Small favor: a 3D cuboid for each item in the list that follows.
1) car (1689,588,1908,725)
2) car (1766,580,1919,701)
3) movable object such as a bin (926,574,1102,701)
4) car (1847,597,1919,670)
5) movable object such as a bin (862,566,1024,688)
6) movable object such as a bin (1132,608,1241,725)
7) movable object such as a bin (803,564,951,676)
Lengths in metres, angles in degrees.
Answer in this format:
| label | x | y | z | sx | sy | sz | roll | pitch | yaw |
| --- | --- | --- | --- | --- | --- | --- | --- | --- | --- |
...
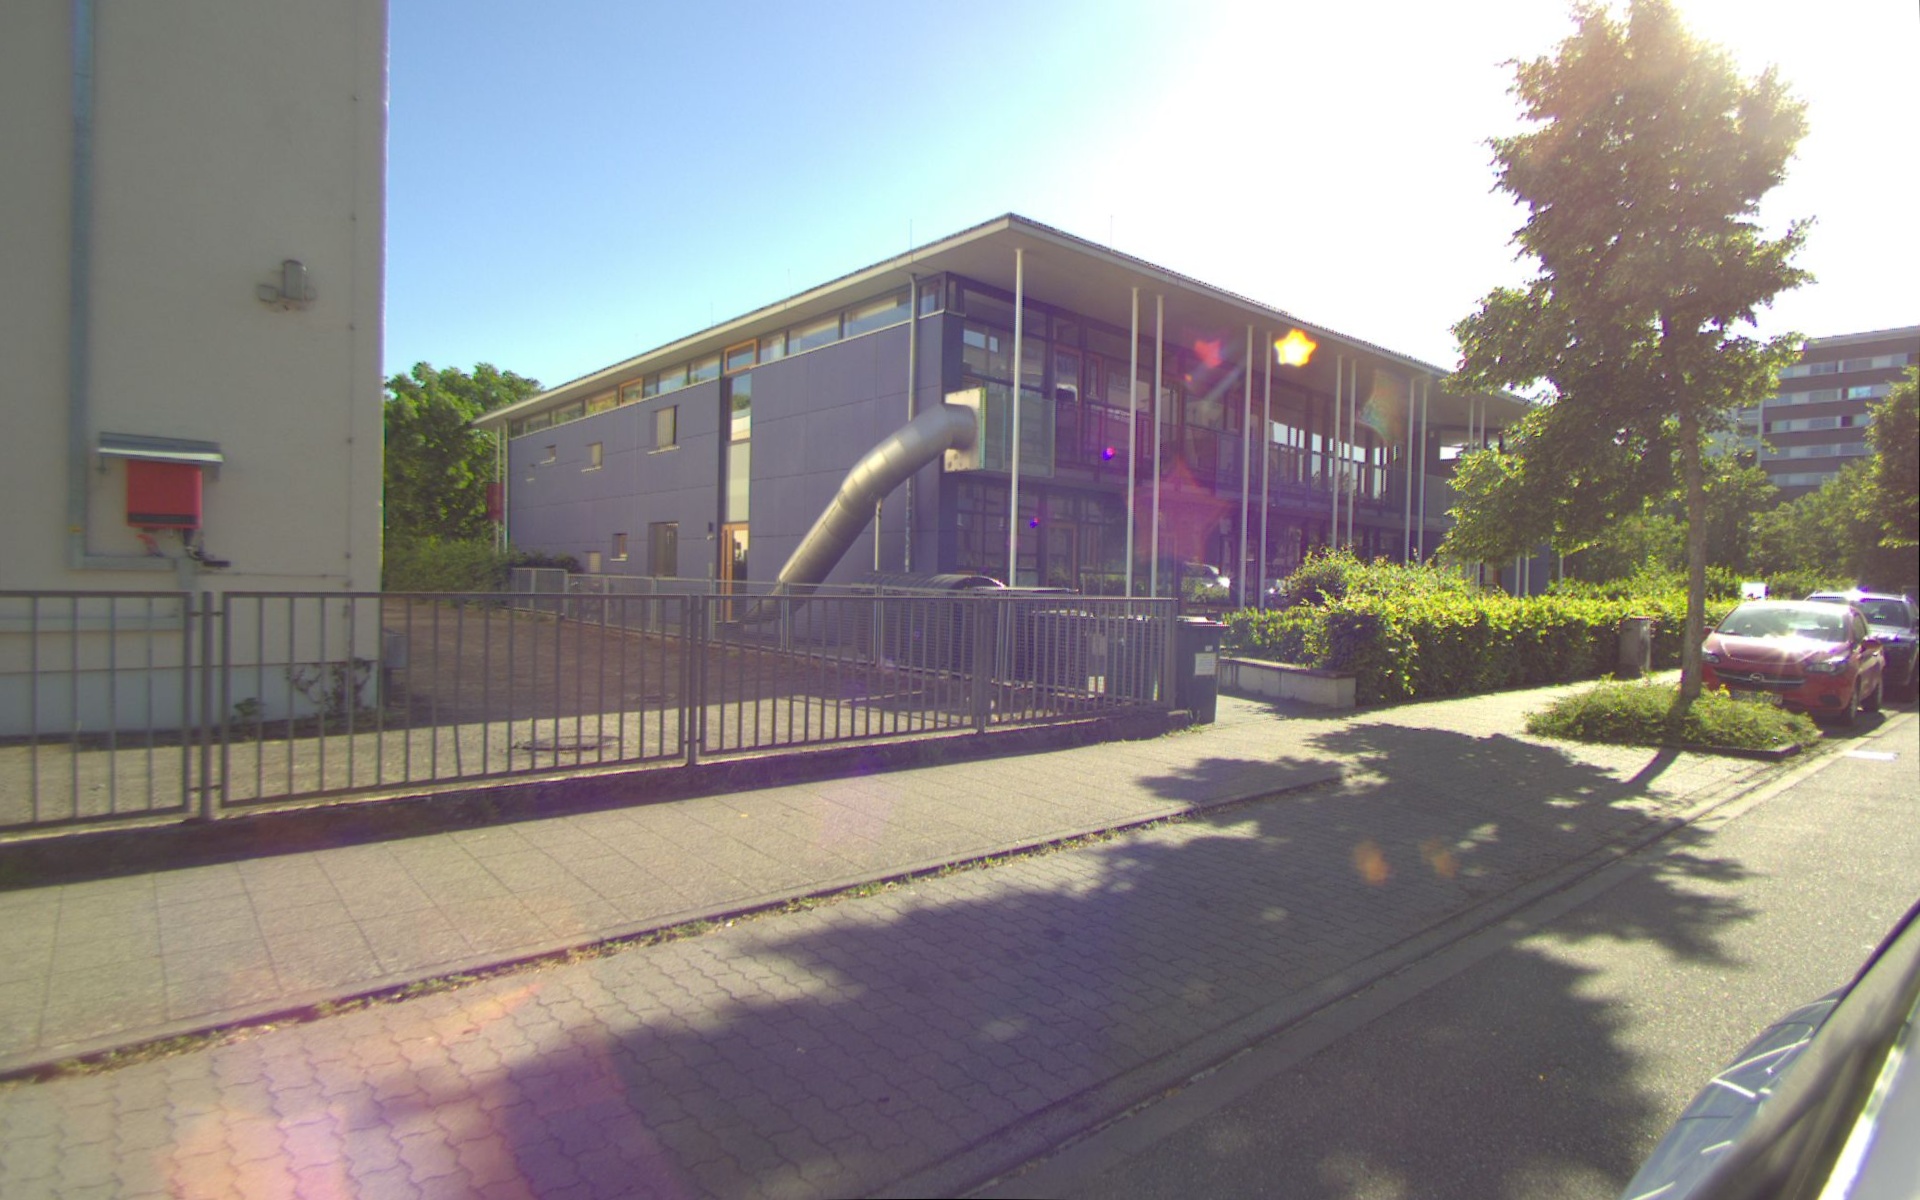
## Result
| label | x | y | z | sx | sy | sz | roll | pitch | yaw |
| --- | --- | --- | --- | --- | --- | --- | --- | --- | --- |
| car | 11.268 | 0.648 | 13.513 | 3.780 | 1.522 | 1.678 | 0 | 2 | -42 |
| car | 15.277 | 0.578 | 16.954 | 4.333 | 1.703 | 1.905 | 0 | 3 | -40 |
| movable object such as a bin | 0.646 | 0.405 | 12.156 | 1.602 | 1.374 | 1.369 | 0 | 1 | -40 |
| car | 20.477 | 0.682 | 21.562 | 4.697 | 1.335 | 1.965 | 0 | 4 | -44 |
| movable object such as a bin | -0.229 | 0.308 | 13.289 | 1.602 | 1.466 | 1.369 | 0 | 1 | -40 |
| movable object such as a bin | 2.288 | 0.638 | 10.206 | 0.962 | 1.083 | 0.633 | 0 | 1 | -41 |
| movable object such as a bin | -1.178 | 0.251 | 14.335 | 1.602 | 1.466 | 1.333 | 0 | 1 | -40 |
